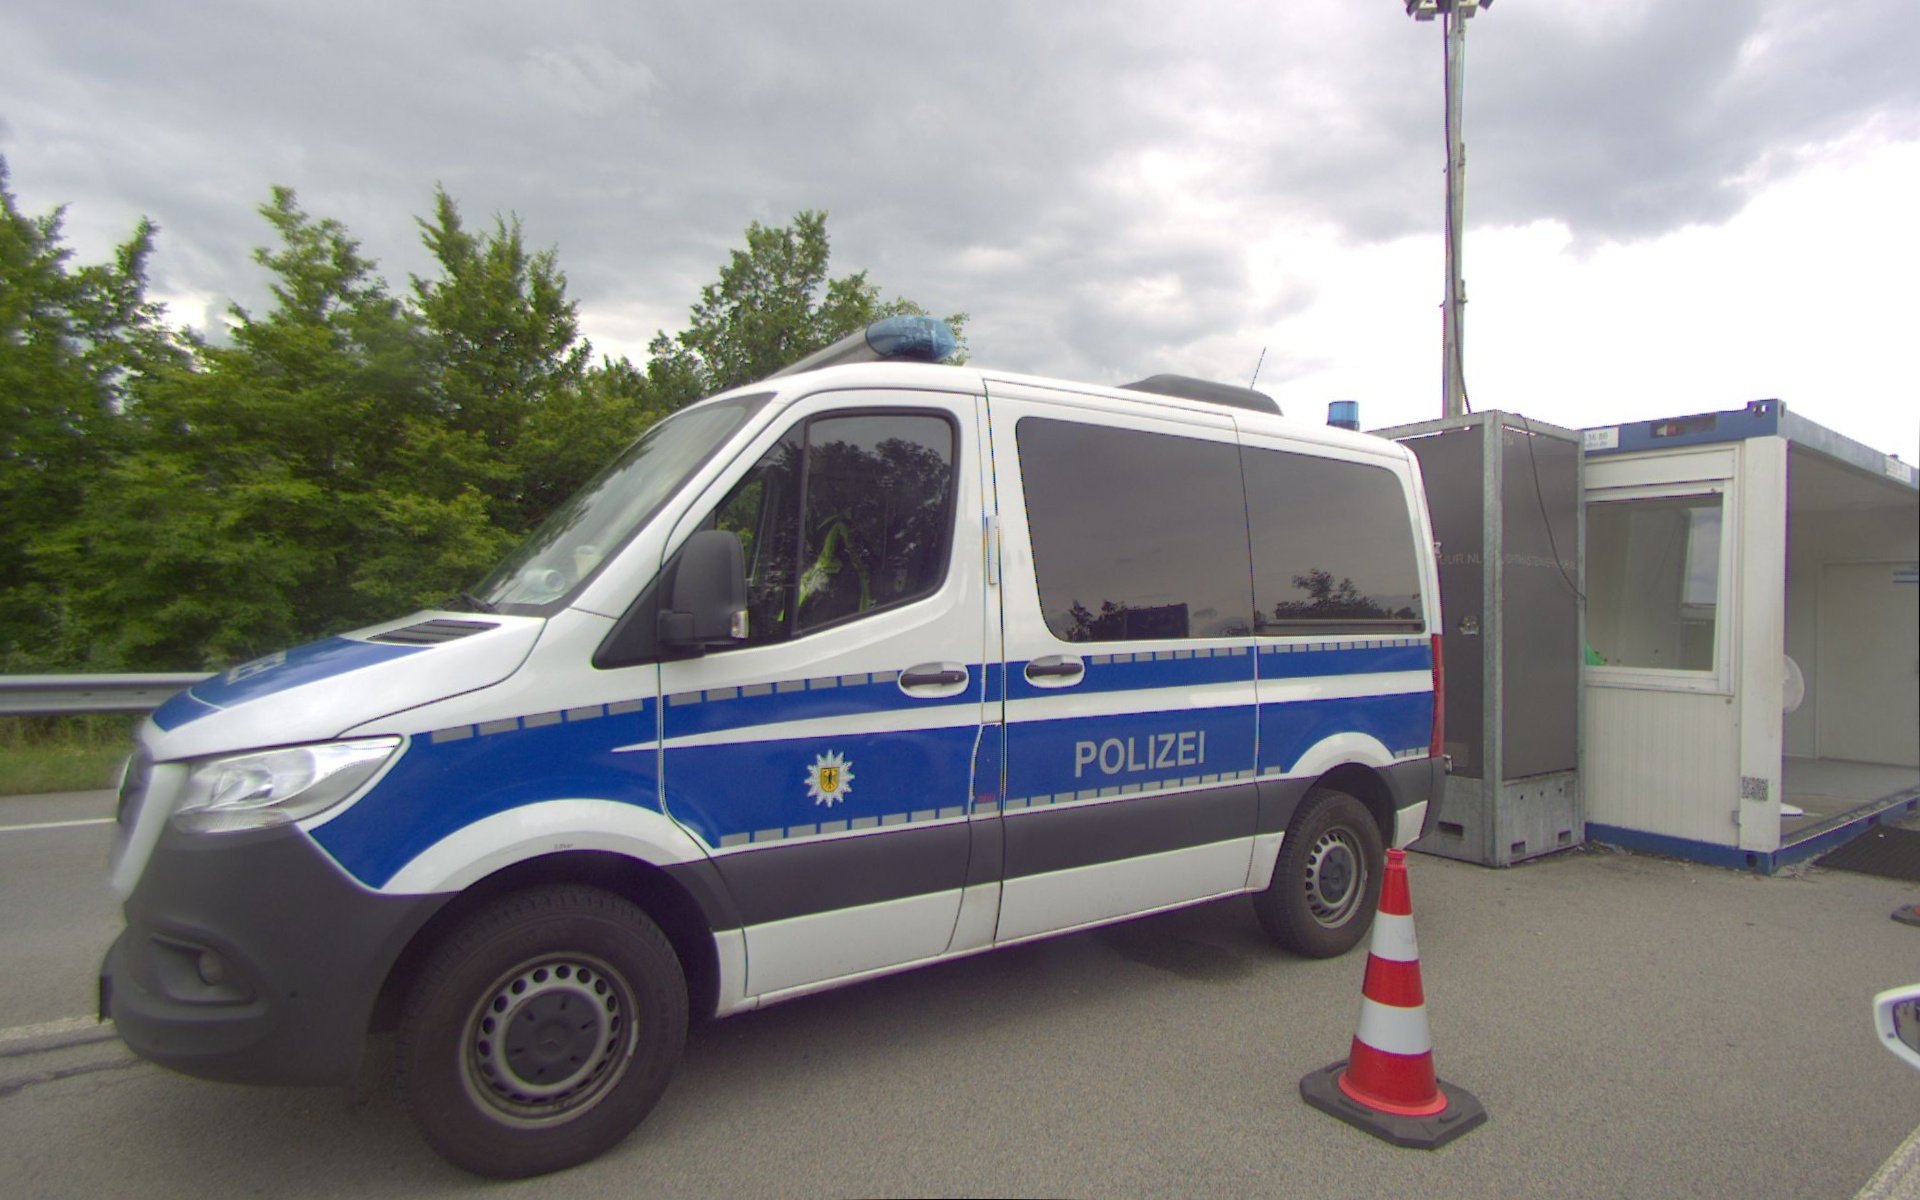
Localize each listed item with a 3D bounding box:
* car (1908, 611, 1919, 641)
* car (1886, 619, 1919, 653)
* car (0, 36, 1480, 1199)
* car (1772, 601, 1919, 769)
[{"bbox_3d":[76.334,2.074,79.466,1.836,2.252,4.231,1,0,44],"label":"car"},{"bbox_3d":[44.464,1.681,46.718,4.228,1.518,1.837,2,-1,-44],"label":"car"},{"bbox_3d":[-0.262,0.235,4.171,5.224,2.496,2.017,1,0,-34],"label":"car"},{"bbox_3d":[11.617,0.943,12.042,3.967,1.766,1.857,1,0,-34],"label":"car"}]
